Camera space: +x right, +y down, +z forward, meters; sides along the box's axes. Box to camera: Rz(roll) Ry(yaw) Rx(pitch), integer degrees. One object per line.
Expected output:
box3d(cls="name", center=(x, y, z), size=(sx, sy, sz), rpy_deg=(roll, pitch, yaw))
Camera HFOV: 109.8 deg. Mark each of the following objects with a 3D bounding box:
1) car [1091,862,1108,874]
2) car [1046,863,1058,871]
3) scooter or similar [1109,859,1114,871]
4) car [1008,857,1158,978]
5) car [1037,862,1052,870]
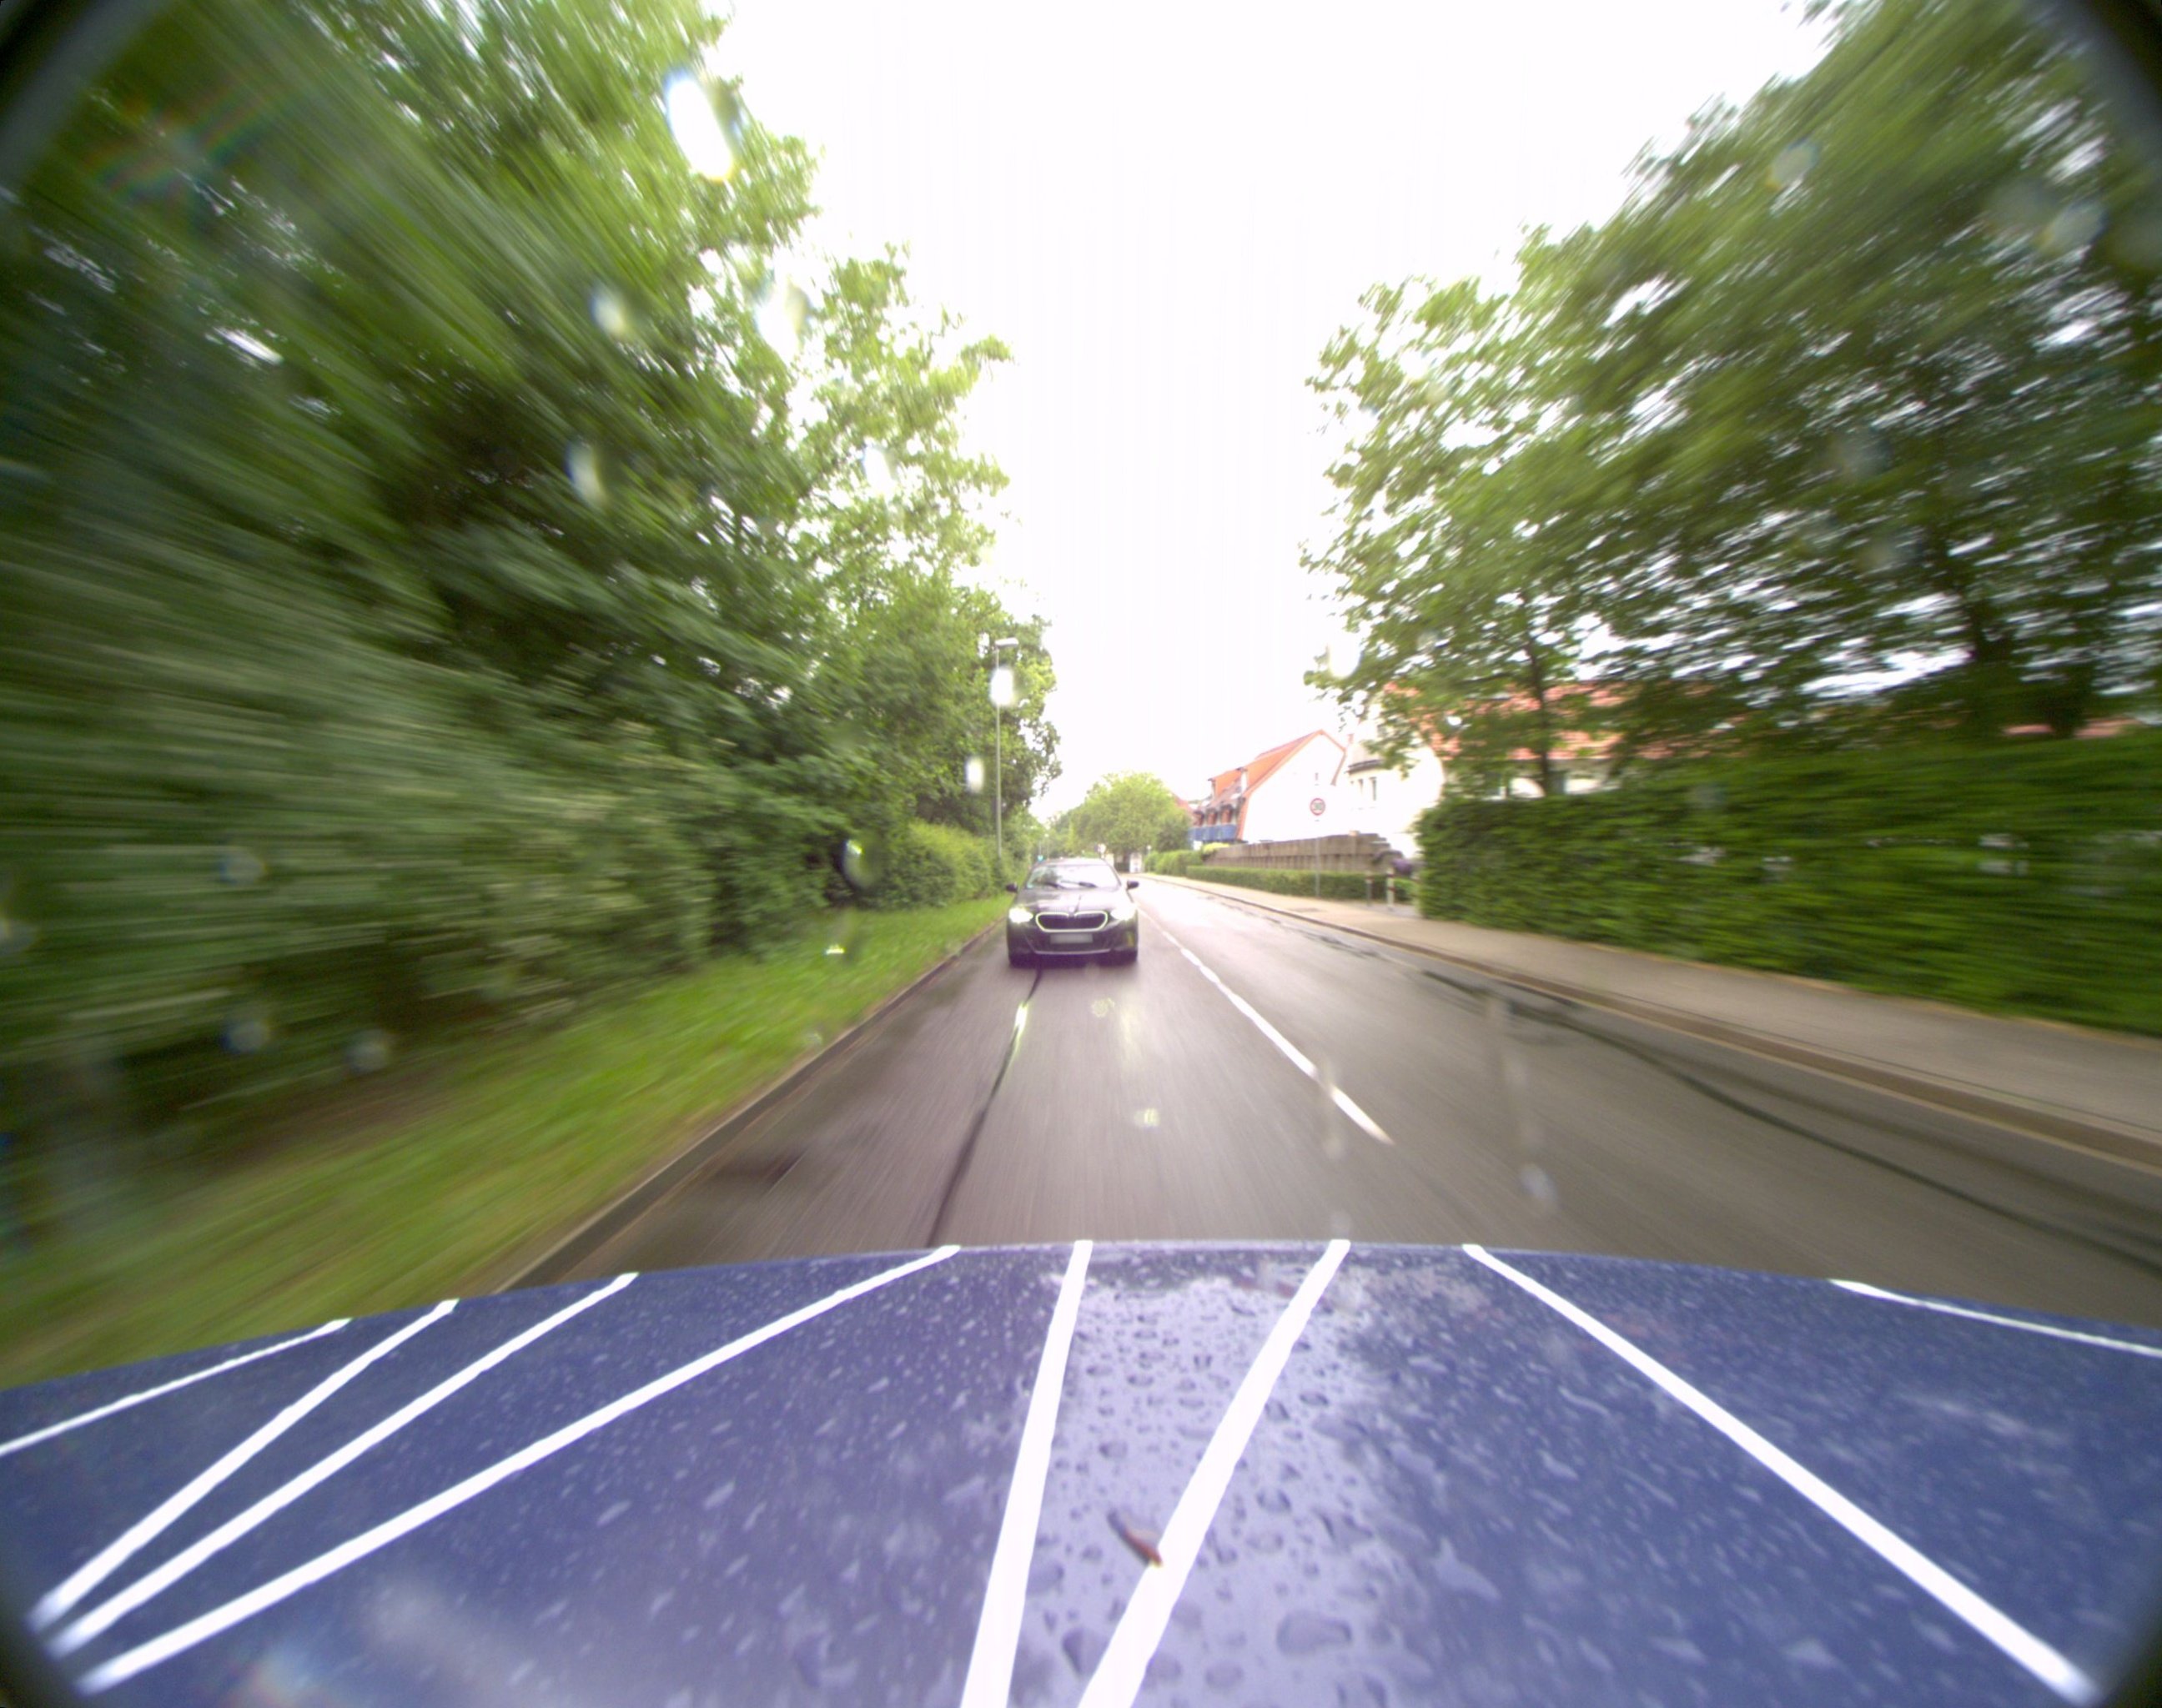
box3d(cls="car", center=(2.351, 1.789, 98.947), size=(1.999, 1.411, 4.485), rpy_deg=(1, -1, -1))
box3d(cls="car", center=(-5.809, 2.612, 152.198), size=(2.000, 1.420, 4.387), rpy_deg=(4, -3, -6))
box3d(cls="scooter or similar", center=(4.429, 1.667, 112.061), size=(0.402, 1.765, 1.511), rpy_deg=(-2, 1, -10))
box3d(cls="car", center=(-0.153, 0.885, 12.212), size=(1.999, 1.586, 4.146), rpy_deg=(-1, -1, -5))
box3d(cls="car", center=(-7.626, 2.577, 158.685), size=(2.002, 1.651, 4.297), rpy_deg=(0, -1, -18))
